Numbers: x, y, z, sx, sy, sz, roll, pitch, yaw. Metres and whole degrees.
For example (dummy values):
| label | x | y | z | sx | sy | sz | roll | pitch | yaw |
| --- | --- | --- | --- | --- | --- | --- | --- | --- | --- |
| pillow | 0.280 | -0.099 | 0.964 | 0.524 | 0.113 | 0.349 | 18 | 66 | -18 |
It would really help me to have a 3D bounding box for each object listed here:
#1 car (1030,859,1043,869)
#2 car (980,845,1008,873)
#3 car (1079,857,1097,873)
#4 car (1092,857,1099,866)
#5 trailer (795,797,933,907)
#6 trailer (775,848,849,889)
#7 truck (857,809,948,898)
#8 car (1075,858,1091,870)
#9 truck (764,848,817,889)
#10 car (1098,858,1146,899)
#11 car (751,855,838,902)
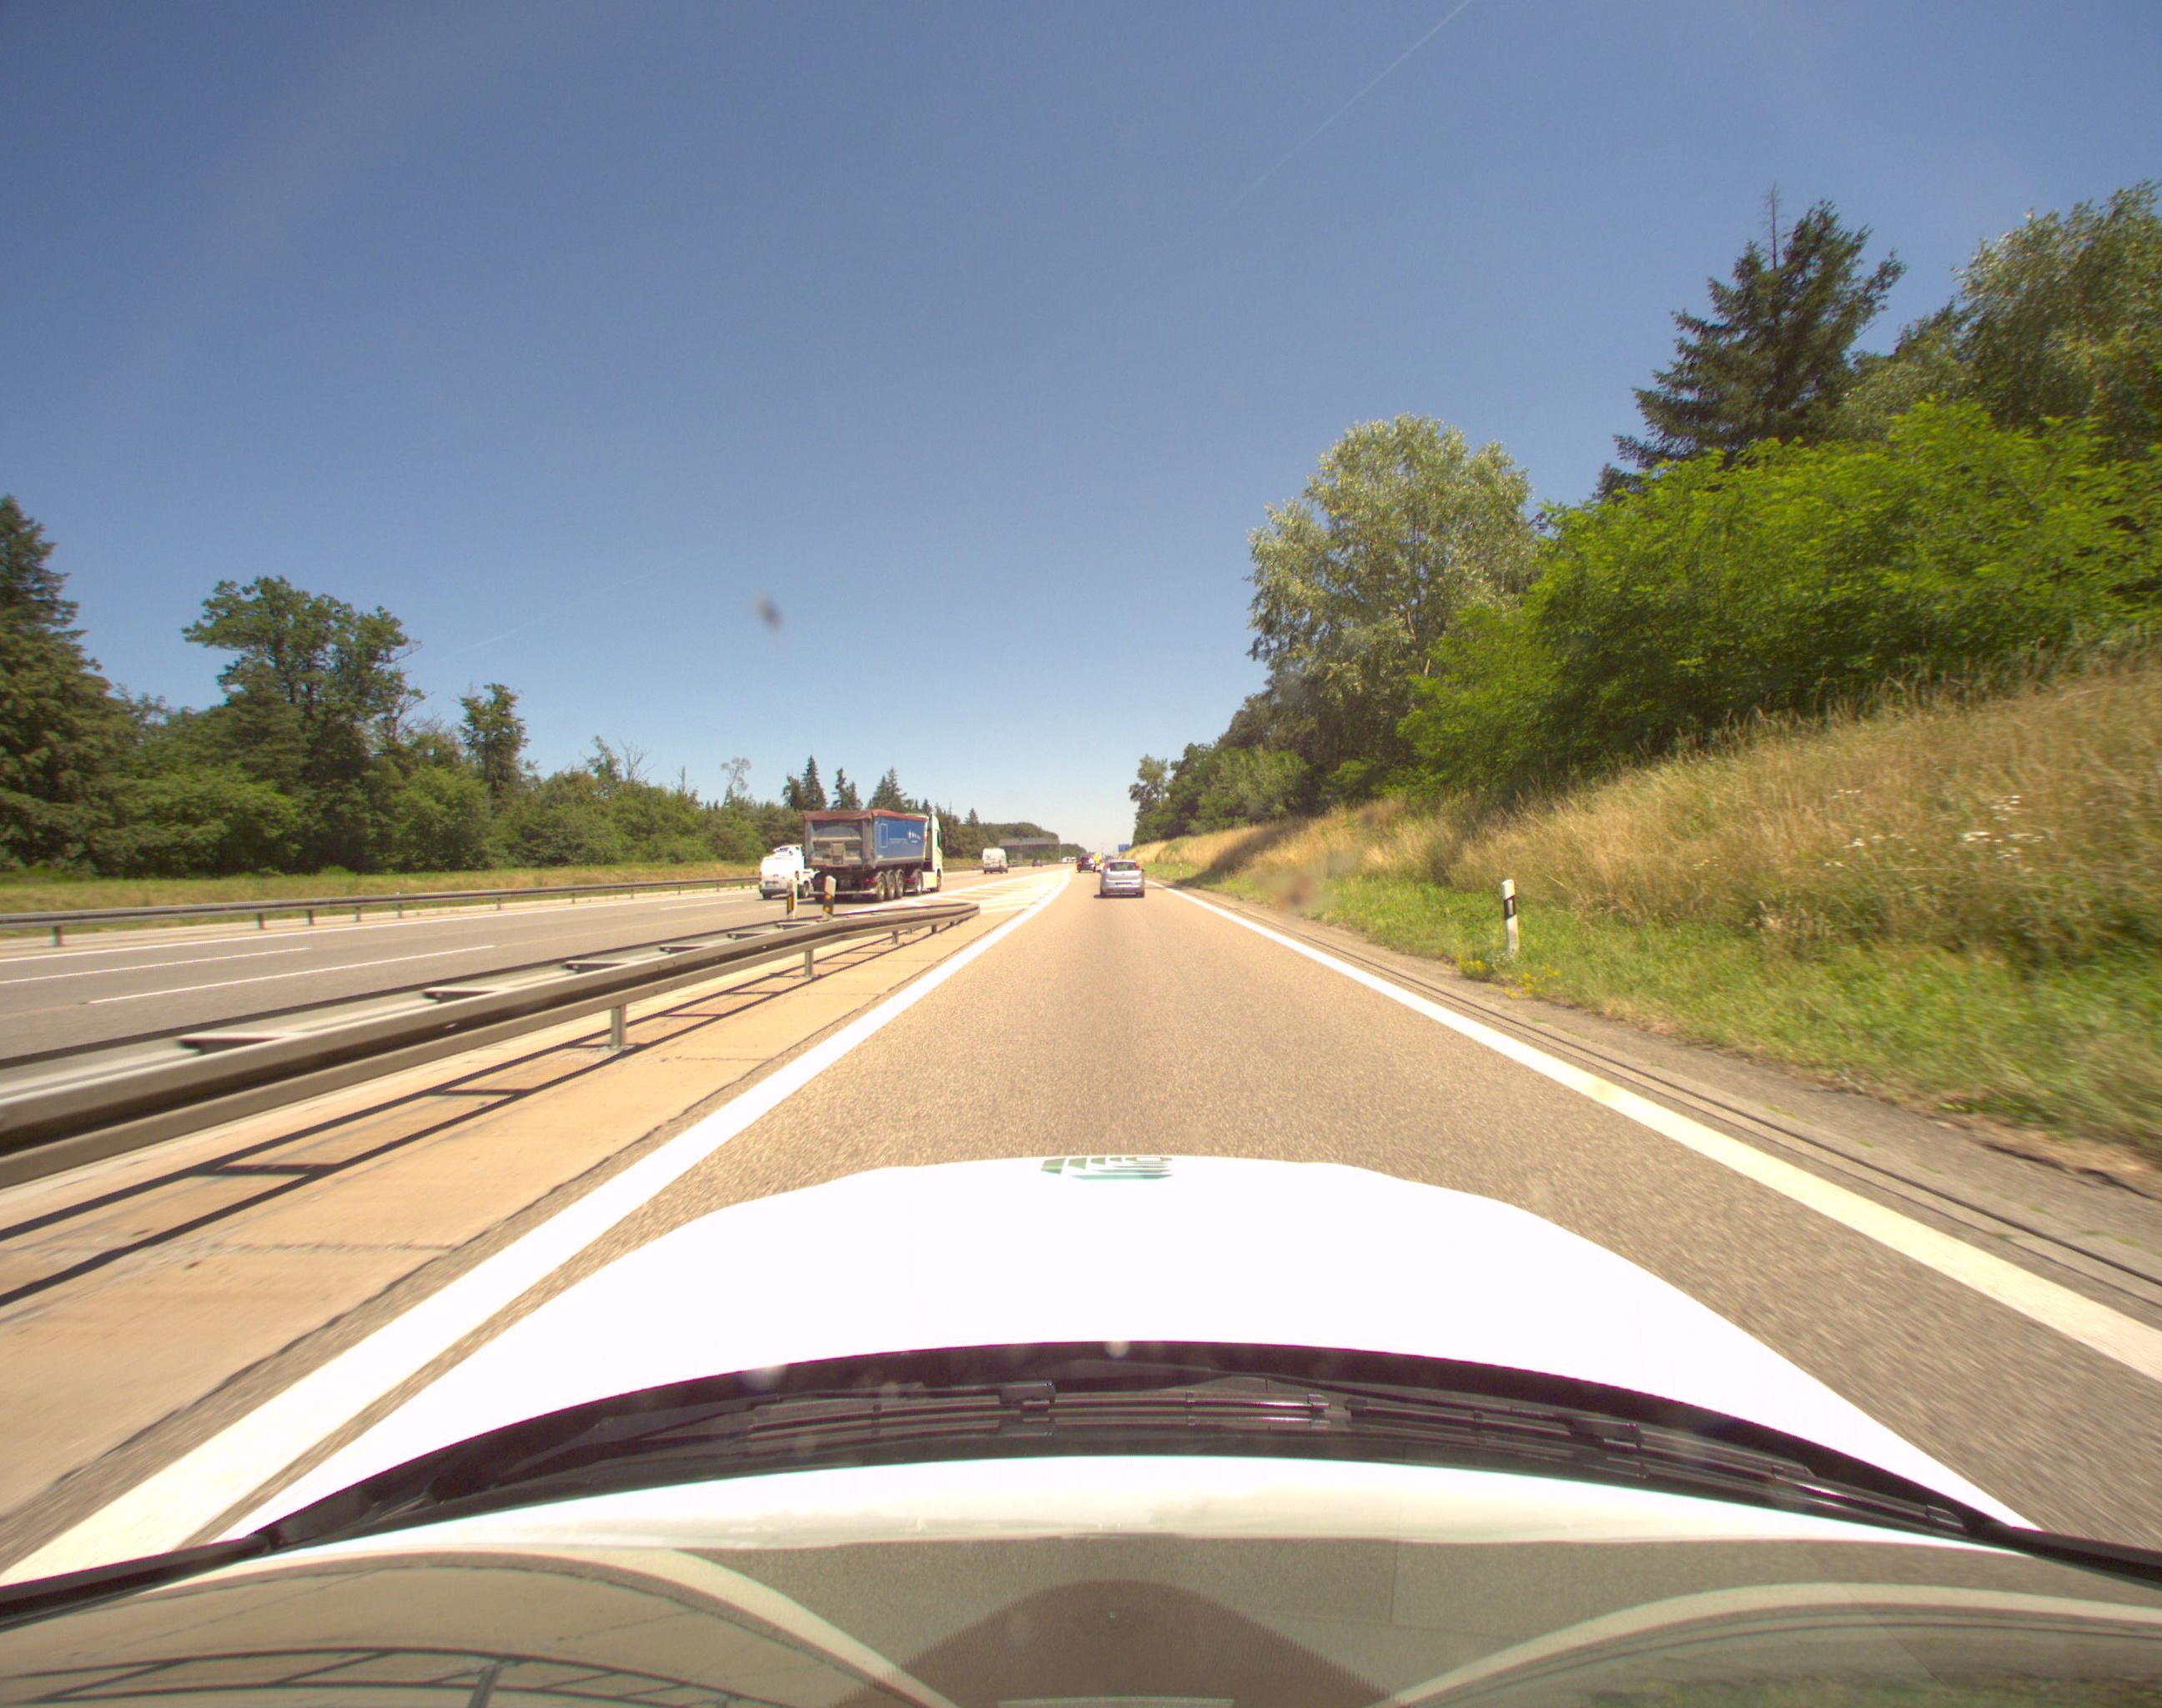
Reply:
| label | x | y | z | sx | sy | sz | roll | pitch | yaw |
| --- | --- | --- | --- | --- | --- | --- | --- | --- | --- |
| car | -9.108 | 2.048 | 166.293 | 2.149 | 1.814 | 4.860 | -1 | 0 | 1 |
| car | -9.610 | 0.585 | 90.443 | 2.251 | 2.951 | 6.116 | 0 | -1 | 2 |
| car | 0.793 | 1.181 | 88.367 | 1.824 | 1.672 | 4.003 | 0 | -1 | 3 |
| car | 3.145 | 1.590 | 179.131 | 1.606 | 2.014 | 3.999 | 0 | -1 | 0 |
| trailer | -8.357 | -0.035 | 32.780 | 2.726 | 3.758 | 9.113 | -1 | 0 | 2 |
| trailer | -30.663 | 1.610 | 93.784 | 3.190 | 4.172 | 13.991 | -3 | -1 | 2 |
| truck | -8.158 | -0.008 | 38.014 | 2.674 | 3.758 | 5.946 | -1 | 0 | 2 |
| car | 0.285 | 1.334 | 108.588 | 1.886 | 1.469 | 4.264 | 0 | -1 | 3 |
| truck | -30.947 | 1.528 | 86.987 | 3.190 | 4.172 | 5.725 | -3 | -1 | 2 |
| car | 1.554 | 0.919 | 31.851 | 1.713 | 1.491 | 3.737 | -1 | 0 | 1 |
| car | -12.294 | 0.987 | 35.283 | 1.824 | 1.833 | 4.720 | -2 | 0 | 3 |
